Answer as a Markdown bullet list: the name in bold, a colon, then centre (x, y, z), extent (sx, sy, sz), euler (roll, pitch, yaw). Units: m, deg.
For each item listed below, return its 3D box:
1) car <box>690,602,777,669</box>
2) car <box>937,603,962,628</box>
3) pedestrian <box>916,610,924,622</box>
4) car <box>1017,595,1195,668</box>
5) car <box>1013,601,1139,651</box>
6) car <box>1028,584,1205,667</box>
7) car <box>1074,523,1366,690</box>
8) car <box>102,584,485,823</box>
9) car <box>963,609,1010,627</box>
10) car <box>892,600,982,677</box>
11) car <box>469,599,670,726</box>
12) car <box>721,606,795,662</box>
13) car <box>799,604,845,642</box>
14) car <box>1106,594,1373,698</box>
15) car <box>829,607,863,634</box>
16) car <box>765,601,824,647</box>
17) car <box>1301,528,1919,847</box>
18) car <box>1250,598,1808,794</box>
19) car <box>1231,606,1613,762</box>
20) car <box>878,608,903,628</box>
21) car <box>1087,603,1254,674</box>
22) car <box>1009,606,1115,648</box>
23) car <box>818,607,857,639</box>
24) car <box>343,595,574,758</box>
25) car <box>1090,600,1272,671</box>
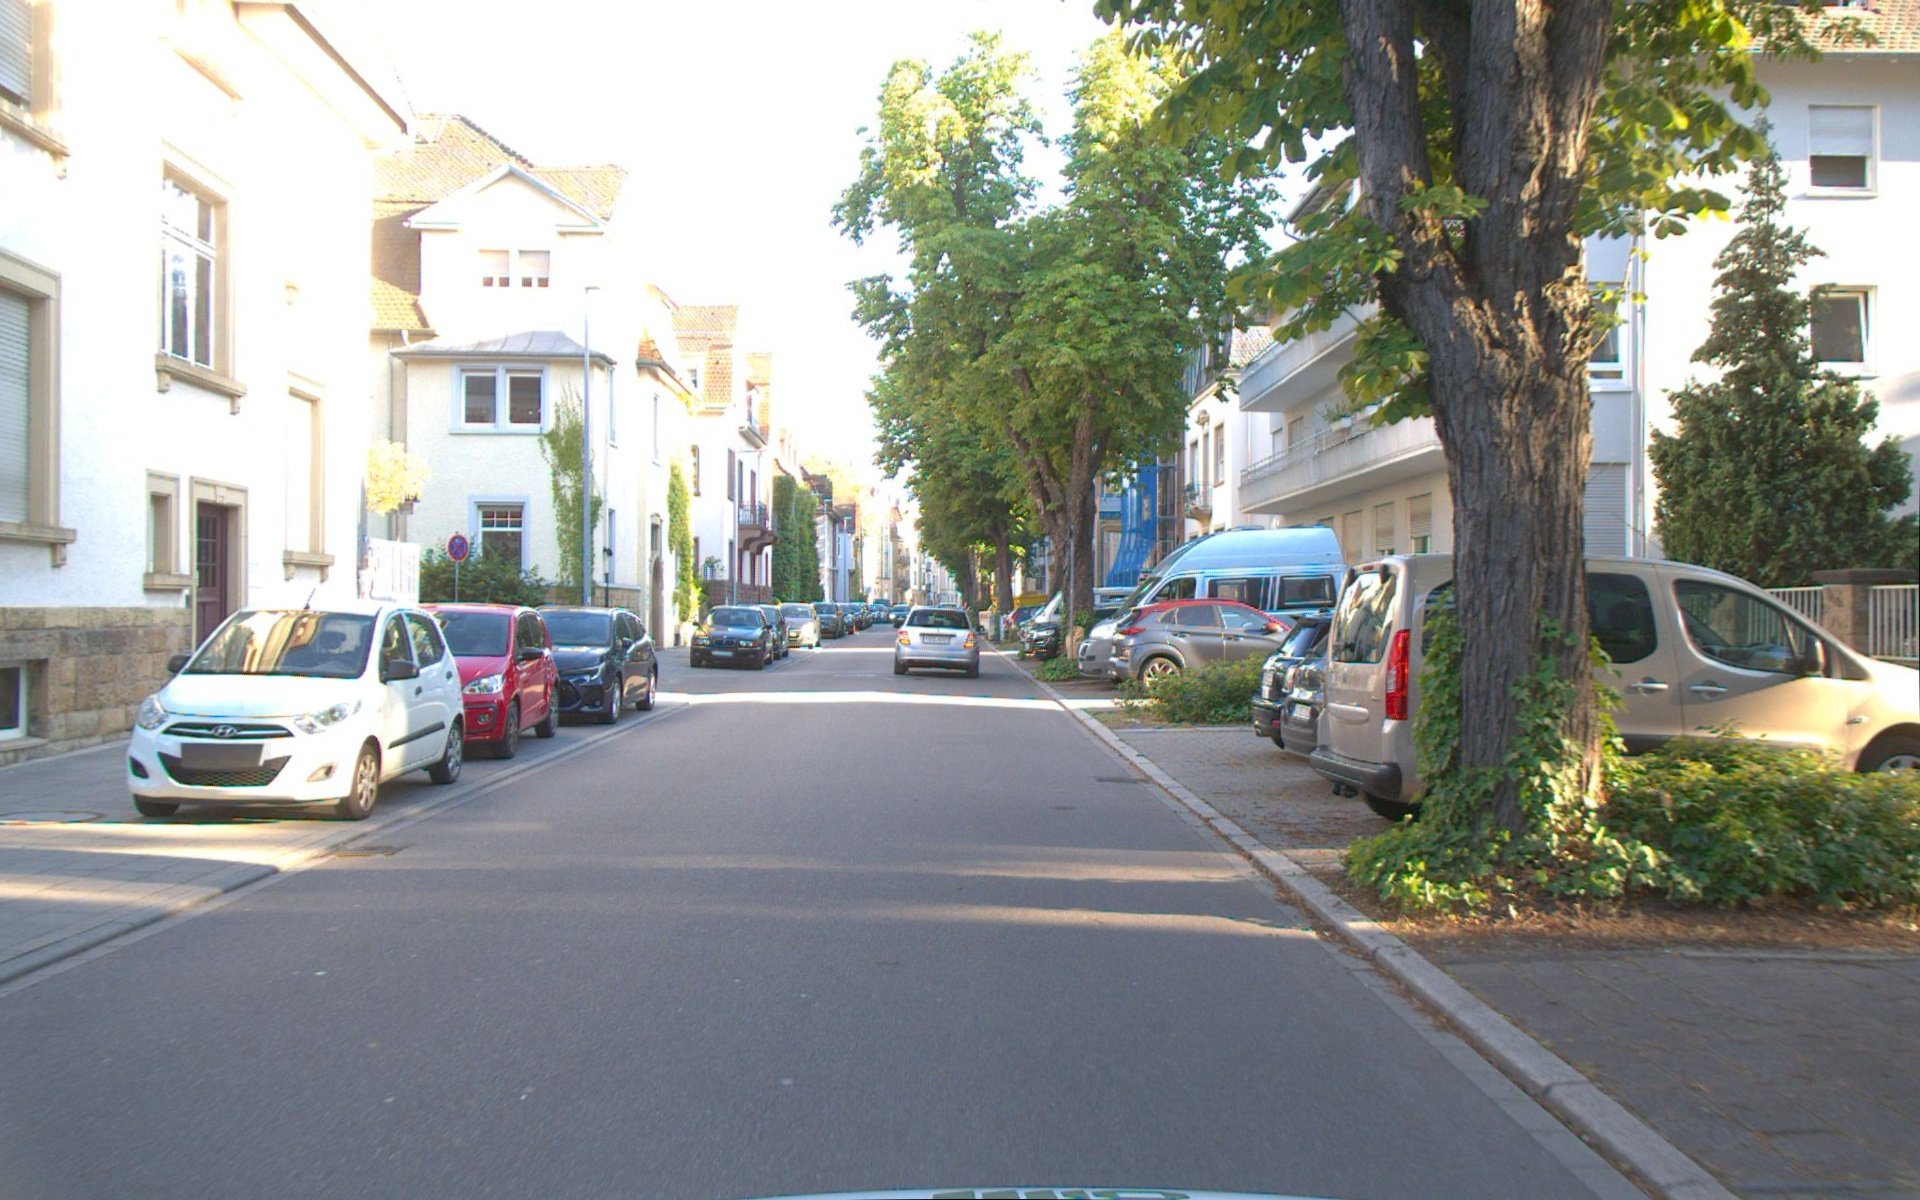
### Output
- **car**: centre (-5.510, 0.827, 40.691), extent (1.675, 1.496, 4.631), euler (2, 0, -3)
- **car**: centre (-0.669, 1.048, 110.009), extent (1.590, 1.597, 3.680), euler (1, 0, 0)
- **pedestrian**: centre (-6.274, 2.504, 259.418), extent (1.195, 1.752, 1.503), euler (2, -1, 2)
- **car**: centre (3.582, 0.781, 40.850), extent (4.097, 1.754, 1.762), euler (1, -1, -8)
- **car**: centre (3.874, 0.874, 55.687), extent (4.071, 1.566, 1.850), euler (-1, -1, -1)
- **car**: centre (4.068, 0.662, 43.431), extent (4.380, 2.049, 1.895), euler (1, -1, -3)
- **car**: centre (4.695, 0.119, 30.342), extent (4.992, 2.953, 2.075), euler (0, 0, -2)
- **car**: centre (-4.971, 0.701, 12.880), extent (1.550, 1.547, 3.704), euler (2, 0, -2)
- **car**: centre (2.386, 1.646, 148.243), extent (4.103, 1.501, 1.852), euler (-1, -1, 1)
- **car**: centre (-0.466, 0.807, 34.615), extent (1.747, 1.462, 3.850), euler (2, -1, 0)
- **car**: centre (-5.134, 0.769, 22.355), extent (1.620, 1.479, 4.630), euler (2, 0, -1)
- **car**: centre (-5.621, 0.932, 46.474), extent (1.620, 1.440, 4.166), euler (2, 0, -2)
- **car**: centre (-5.830, 0.958, 70.248), extent (1.620, 1.512, 3.763), euler (2, 0, -1)
- **car**: centre (4.601, 0.745, 27.575), extent (4.105, 1.596, 1.758), euler (-1, 0, -3)
- **car**: centre (-6.298, 1.119, 91.767), extent (1.616, 1.445, 4.098), euler (2, 0, -1)
- **car**: centre (-5.598, 0.797, 56.296), extent (1.620, 1.472, 4.004), euler (2, 0, -1)
- **car**: centre (4.575, 0.546, 10.990), extent (4.216, 1.918, 1.757), euler (0, -1, -4)
- **car**: centre (4.786, 0.775, 14.268), extent (4.216, 1.568, 1.757), euler (0, 0, -4)
- **car**: centre (4.552, 0.804, 16.649), extent (3.333, 1.452, 1.758), euler (-1, 0, -1)
- **car**: centre (-5.121, 1.328, 121.666), extent (1.736, 1.474, 3.999), euler (0, 0, -1)
- **car**: centre (4.874, 0.891, 38.562), extent (3.646, 1.581, 1.638), euler (0, -1, -3)
- **car**: centre (3.855, 1.025, 63.054), extent (3.905, 1.518, 1.851), euler (-1, -1, 0)
- **car**: centre (-5.951, 1.101, 80.636), extent (1.757, 1.487, 4.774), euler (2, 0, -3)
- **car**: centre (-5.201, 0.736, 17.588), extent (1.550, 1.502, 3.702), euler (2, 0, -5)
- **car**: centre (4.727, 0.779, 35.704), extent (3.646, 1.456, 1.758), euler (0, -2, -3)
